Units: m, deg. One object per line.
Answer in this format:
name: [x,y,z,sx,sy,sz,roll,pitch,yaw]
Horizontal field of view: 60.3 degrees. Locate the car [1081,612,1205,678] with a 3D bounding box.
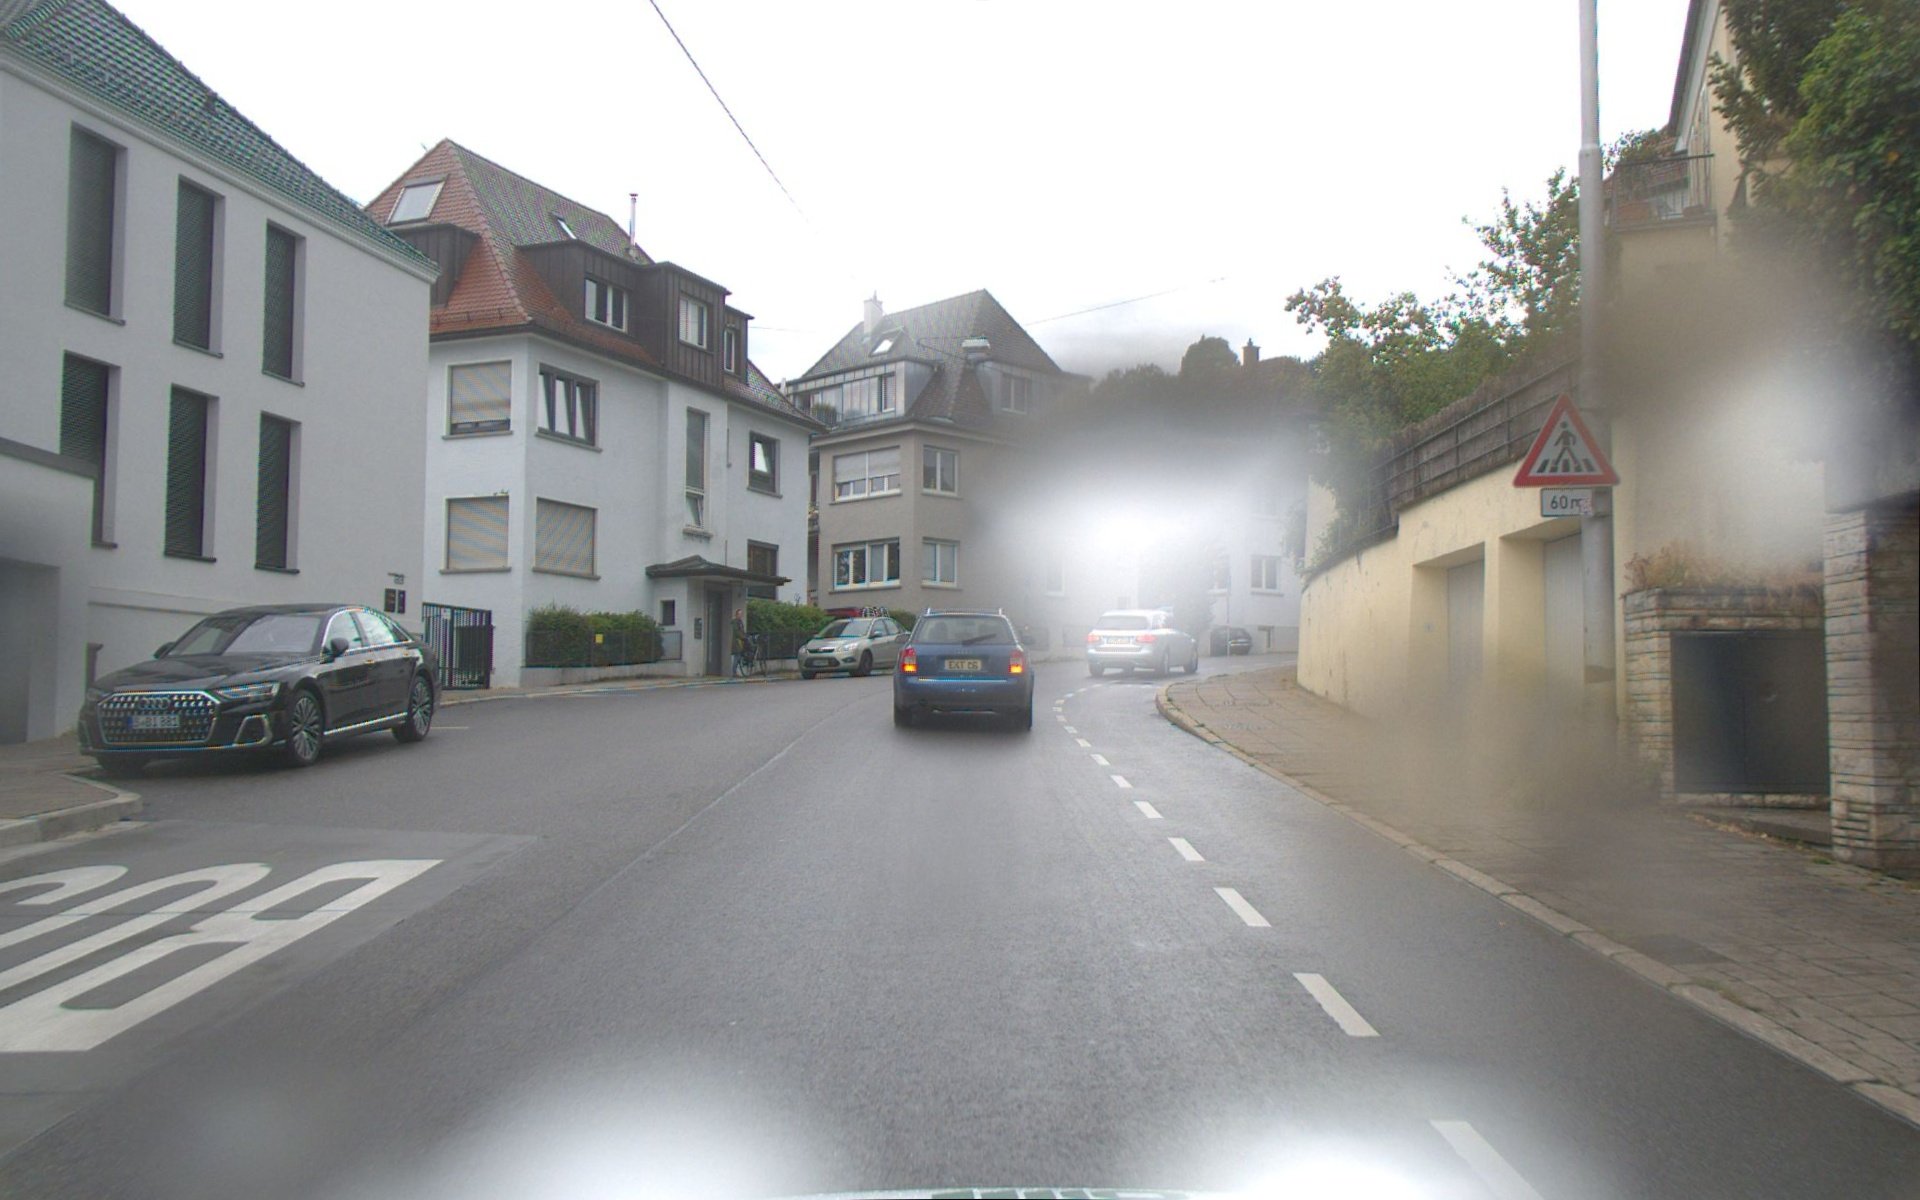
car: [4.237,1.043,37.696,1.774,1.384,3.999,1,-2,22]

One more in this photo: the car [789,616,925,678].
car: [-2.555,1.159,42.073,1.798,1.450,4.229,-3,-1,21]

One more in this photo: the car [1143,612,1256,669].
car: [9.505,1.640,65.882,1.978,1.651,4.201,-1,-9,-35]

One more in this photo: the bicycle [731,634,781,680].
bicycle: [-5.060,1.392,41.065,0.446,1.086,1.922,-1,-1,18]

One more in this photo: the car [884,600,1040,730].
car: [0.042,0.757,21.228,1.774,1.464,4.081,1,0,0]

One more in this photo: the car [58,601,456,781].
car: [-6.765,0.821,16.617,1.791,1.512,4.991,-1,-1,1]

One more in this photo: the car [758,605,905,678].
car: [-3.952,1.268,50.812,3.911,1.854,1.997,-6,-3,28]

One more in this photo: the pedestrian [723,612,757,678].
pedestrian: [-5.481,1.113,41.264,0.482,1.605,0.948,-1,-1,18]
